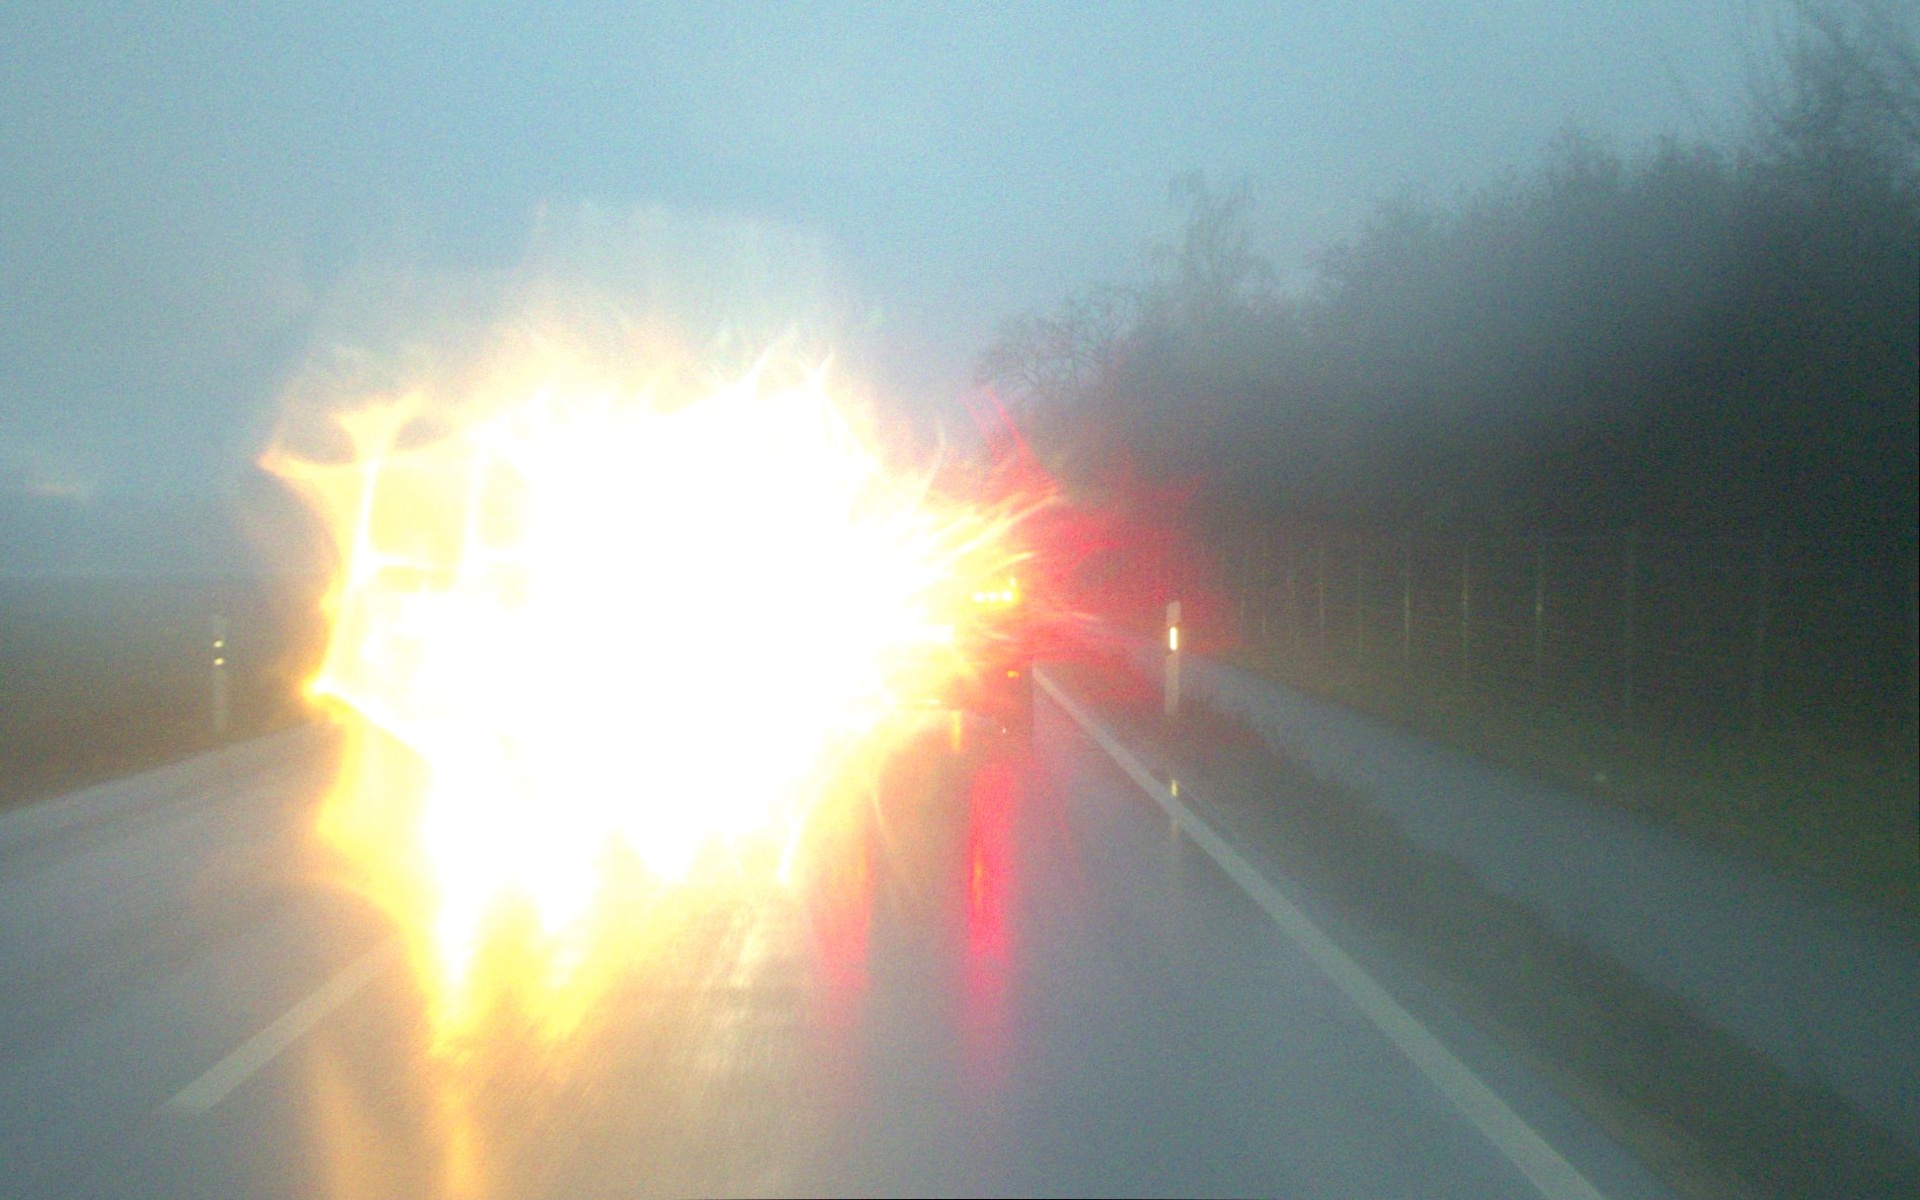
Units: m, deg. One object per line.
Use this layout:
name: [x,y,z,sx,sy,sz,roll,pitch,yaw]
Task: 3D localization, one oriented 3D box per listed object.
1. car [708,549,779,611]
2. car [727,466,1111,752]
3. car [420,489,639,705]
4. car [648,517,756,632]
car: [-6.140,-0.593,97.821,1.915,1.706,4.314,-1,1,-2]
car: [-0.295,0.028,28.628,2.820,2.070,5.804,1,1,0]
car: [-4.494,-0.061,36.437,1.915,2.130,4.314,-1,1,-2]
car: [-4.965,-0.506,66.656,1.915,2.130,4.314,-1,1,-2]
